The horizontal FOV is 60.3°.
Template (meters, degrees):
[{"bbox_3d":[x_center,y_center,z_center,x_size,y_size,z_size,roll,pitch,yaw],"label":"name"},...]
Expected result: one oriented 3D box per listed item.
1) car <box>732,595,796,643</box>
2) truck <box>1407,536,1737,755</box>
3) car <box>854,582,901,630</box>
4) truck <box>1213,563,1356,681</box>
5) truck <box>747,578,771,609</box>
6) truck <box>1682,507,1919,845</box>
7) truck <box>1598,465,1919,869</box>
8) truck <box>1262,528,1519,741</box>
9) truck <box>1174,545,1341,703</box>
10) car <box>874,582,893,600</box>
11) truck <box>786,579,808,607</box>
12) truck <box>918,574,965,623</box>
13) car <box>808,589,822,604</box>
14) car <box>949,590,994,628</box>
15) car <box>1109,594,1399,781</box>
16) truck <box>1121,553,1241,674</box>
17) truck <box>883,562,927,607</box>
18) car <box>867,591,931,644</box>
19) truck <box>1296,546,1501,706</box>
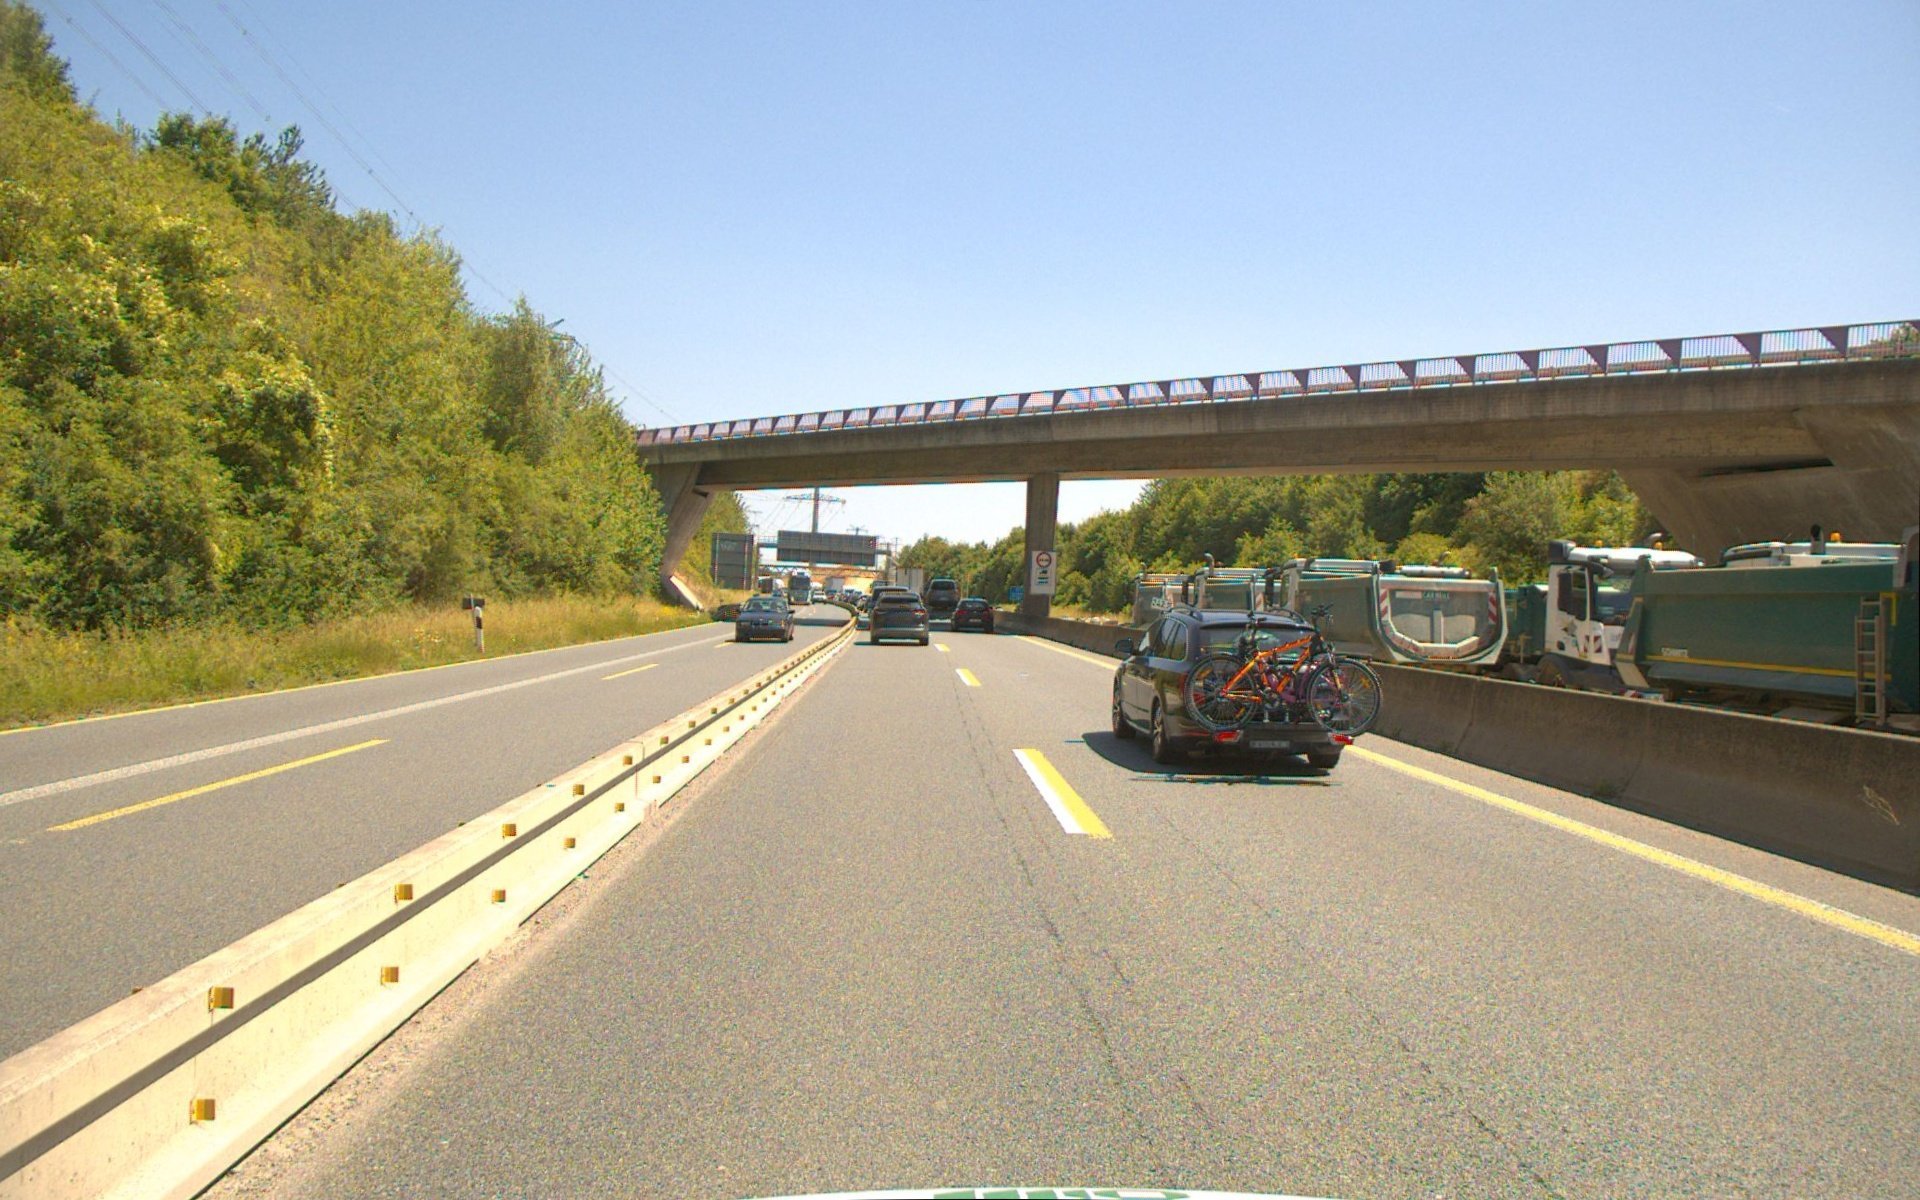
[{"bbox_3d":[-6.185,0.598,52.569,1.640,1.418,4.069,1,0,-2],"label":"car"},{"bbox_3d":[11.535,0.749,32.410,2.633,3.619,9.321,1,0,-2],"label":"truck"},{"bbox_3d":[-3.565,0.265,72.116,1.860,2.003,4.275,1,0,-1],"label":"car"},{"bbox_3d":[10.895,0.680,56.497,2.633,3.619,9.321,1,0,-2],"label":"truck"},{"bbox_3d":[-22.194,-0.736,183.321,2.460,3.242,10.096,1,0,-6],"label":"truck"},{"bbox_3d":[12.178,0.887,19.817,2.633,3.826,9.321,1,0,-2],"label":"truck"},{"bbox_3d":[9.838,0.620,16.921,2.633,3.619,9.321,1,0,-2],"label":"truck"},{"bbox_3d":[8.707,0.614,34.832,2.633,3.826,9.321,1,0,-2],"label":"truck"},{"bbox_3d":[8.088,0.597,46.272,2.633,3.923,9.321,1,0,-2],"label":"truck"},{"bbox_3d":[-8.673,-0.983,187.505,1.862,2.003,4.271,1,0,-6],"label":"car"},{"bbox_3d":[-19.596,-0.855,198.281,2.460,3.242,10.096,1,0,-6],"label":"truck"},{"bbox_3d":[-1.112,-0.103,92.918,2.357,2.603,7.496,1,0,-3],"label":"truck"},{"bbox_3d":[-18.767,-0.442,213.789,1.728,1.870,3.994,1,0,-6],"label":"car"},{"bbox_3d":[0.489,0.394,73.324,1.860,1.613,4.275,1,0,-1],"label":"car"},{"bbox_3d":[2.683,0.742,16.276,1.861,1.516,4.946,1,0,-1],"label":"car"},{"bbox_3d":[7.709,0.434,58.903,2.633,3.910,9.321,1,0,-2],"label":"truck"},{"bbox_3d":[-5.099,-1.407,152.200,3.229,3.912,10.096,1,0,-6],"label":"truck"},{"bbox_3d":[-1.879,0.527,51.950,1.860,1.531,4.275,1,0,-1],"label":"car"},{"bbox_3d":[11.507,0.622,44.484,2.633,3.792,9.321,1,0,-2],"label":"truck"}]
